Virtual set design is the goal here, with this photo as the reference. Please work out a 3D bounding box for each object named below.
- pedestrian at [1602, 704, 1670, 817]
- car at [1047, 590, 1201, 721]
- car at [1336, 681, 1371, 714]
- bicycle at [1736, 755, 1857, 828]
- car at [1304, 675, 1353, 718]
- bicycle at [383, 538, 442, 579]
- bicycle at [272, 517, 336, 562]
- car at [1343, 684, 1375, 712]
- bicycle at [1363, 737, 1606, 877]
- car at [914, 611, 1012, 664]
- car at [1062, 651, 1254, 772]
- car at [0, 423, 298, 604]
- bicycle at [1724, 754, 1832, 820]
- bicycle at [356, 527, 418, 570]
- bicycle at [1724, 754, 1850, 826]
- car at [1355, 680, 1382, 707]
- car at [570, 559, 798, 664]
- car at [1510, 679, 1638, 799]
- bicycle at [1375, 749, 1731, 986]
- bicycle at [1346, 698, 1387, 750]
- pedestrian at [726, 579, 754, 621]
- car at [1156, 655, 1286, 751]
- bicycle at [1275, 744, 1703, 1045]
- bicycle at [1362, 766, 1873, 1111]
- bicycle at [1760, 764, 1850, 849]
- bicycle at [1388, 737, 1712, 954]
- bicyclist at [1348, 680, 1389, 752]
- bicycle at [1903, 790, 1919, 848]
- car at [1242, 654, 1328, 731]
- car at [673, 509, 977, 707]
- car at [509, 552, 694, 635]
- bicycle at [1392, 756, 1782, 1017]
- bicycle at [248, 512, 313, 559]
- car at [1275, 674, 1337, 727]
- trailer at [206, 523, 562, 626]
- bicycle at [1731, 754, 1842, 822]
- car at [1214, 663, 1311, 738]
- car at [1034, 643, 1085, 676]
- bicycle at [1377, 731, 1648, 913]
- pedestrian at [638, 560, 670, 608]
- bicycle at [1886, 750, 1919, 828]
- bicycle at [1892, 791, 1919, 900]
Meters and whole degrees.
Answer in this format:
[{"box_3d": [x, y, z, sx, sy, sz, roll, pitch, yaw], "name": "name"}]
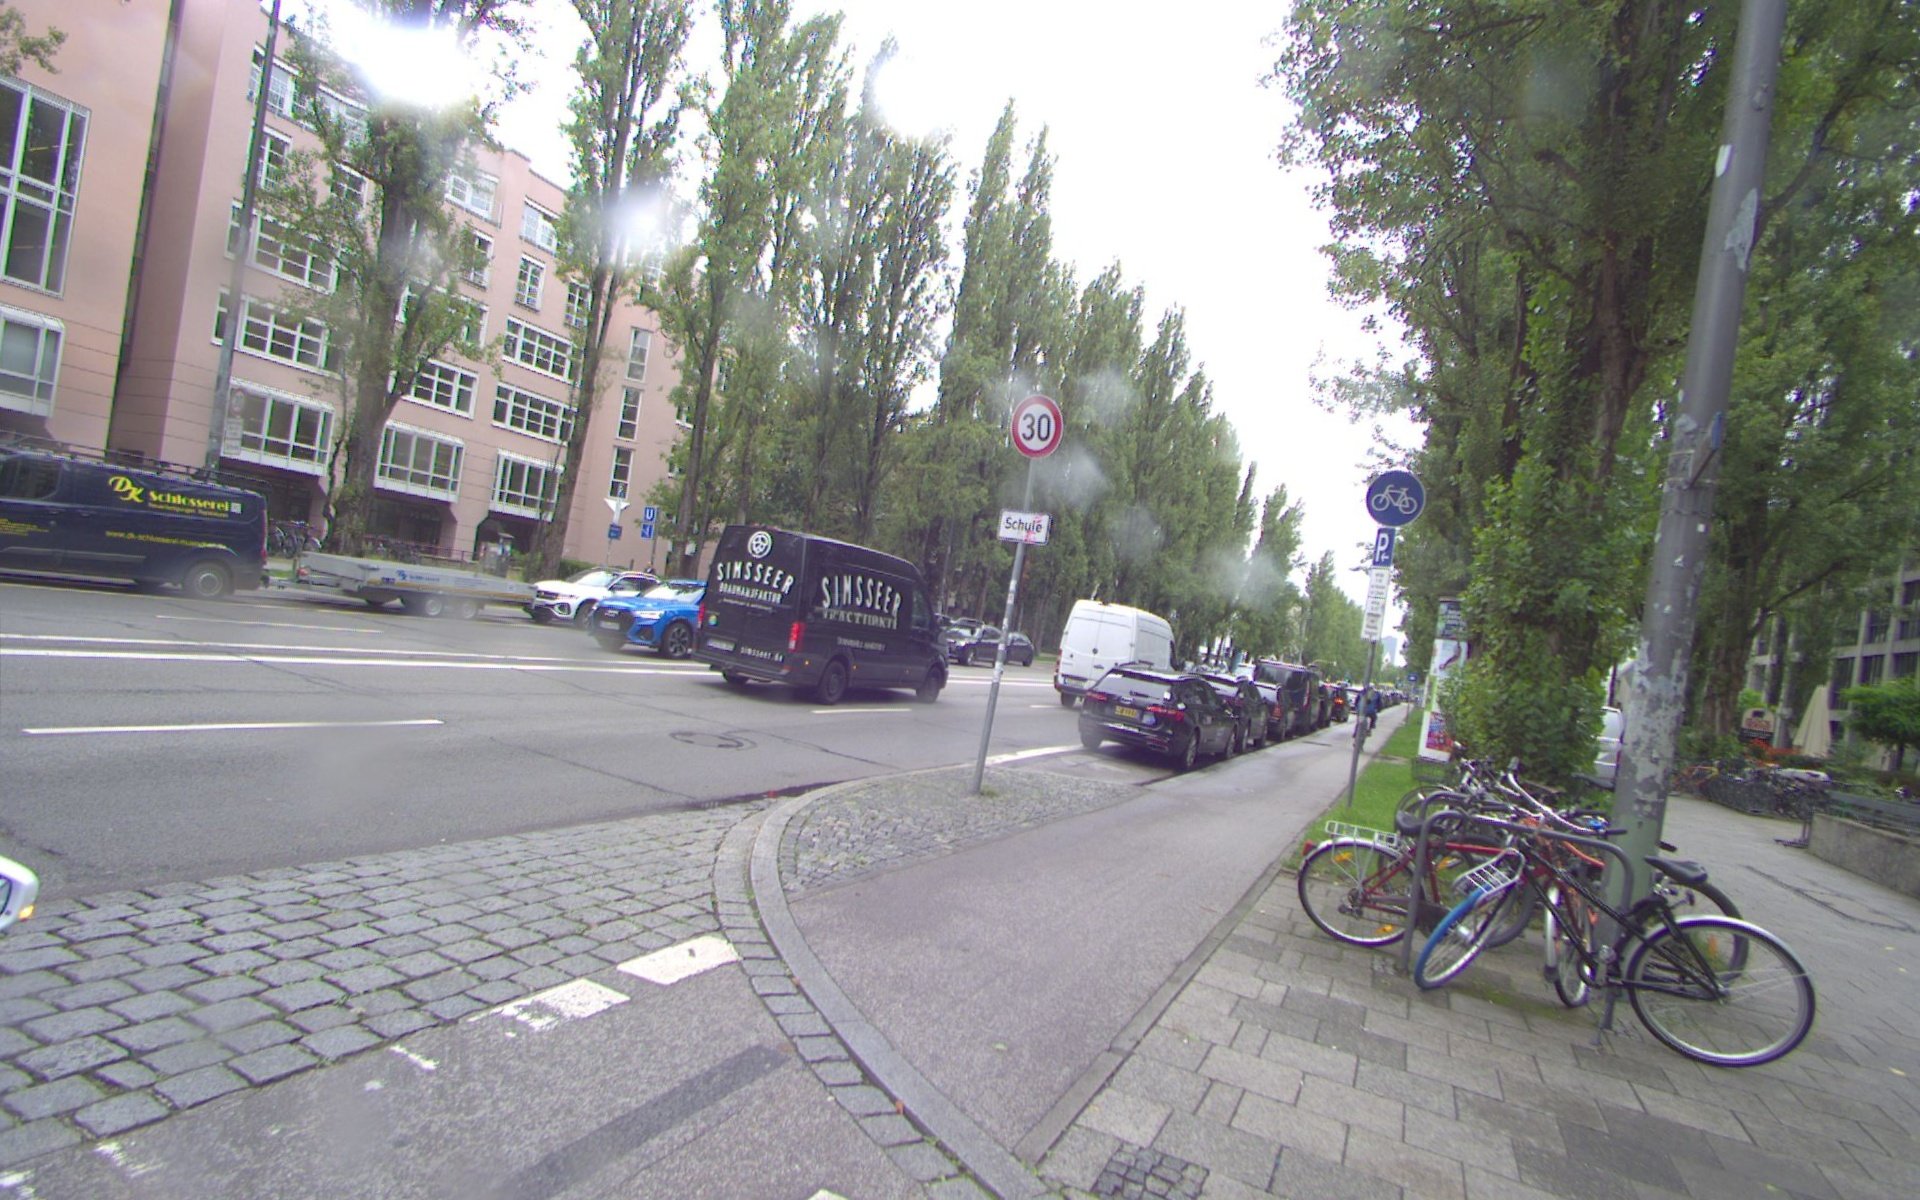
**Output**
[{"box_3d": [12.059, 2.848, 17.972, 0.688, 1.863, 0.706, 9, 0, 28], "name": "pedestrian"}, {"box_3d": [4.427, 1.493, 26.045, 2.010, 2.683, 6.040, 10, 0, 25], "name": "car"}, {"box_3d": [24.634, 6.071, 62.883, 1.717, 1.662, 3.952, 10, 0, 23], "name": "car"}, {"box_3d": [18.469, 4.218, 22.257, 1.836, 1.173, 0.587, 9, 0, 27], "name": "bicycle"}, {"box_3d": [17.091, 4.450, 46.595, 1.717, 1.609, 3.952, 10, 0, 23], "name": "car"}, {"box_3d": [-19.037, -1.443, 34.957, 1.953, 1.138, 0.676, 9, 0, 26], "name": "bicycle"}, {"box_3d": [-20.783, -1.917, 31.853, 1.953, 1.138, 0.676, 9, 0, 26], "name": "bicycle"}, {"box_3d": [27.870, 6.814, 70.236, 1.717, 1.564, 3.952, 10, 0, 23], "name": "car"}, {"box_3d": [4.668, 1.813, 9.043, 1.802, 0.827, 0.471, 8, 0, 30], "name": "bicycle"}, {"box_3d": [0.196, 1.523, 39.693, 1.964, 1.662, 4.549, 8, -1, 25], "name": "car"}, {"box_3d": [3.448, 1.834, 16.761, 1.726, 1.444, 4.445, 10, 0, 29], "name": "car"}, {"box_3d": [-13.806, -1.383, 15.589, 1.987, 2.223, 5.496, 9, -1, 25], "name": "car"}, {"box_3d": [20.074, 4.570, 24.727, 1.836, 1.173, 0.587, 9, 0, 27], "name": "bicycle"}, {"box_3d": [-19.483, -1.760, 34.192, 2.069, 1.138, 0.676, 9, 0, 26], "name": "bicycle"}, {"box_3d": [18.698, 4.277, 22.793, 1.996, 1.173, 0.587, 9, 0, 27], "name": "bicycle"}, {"box_3d": [33.010, 7.518, 81.256, 1.717, 1.808, 3.952, 10, 0, 23], "name": "car"}, {"box_3d": [-5.396, 0.318, 20.313, 1.838, 1.597, 4.421, 7, -2, 26], "name": "car"}, {"box_3d": [13.861, 3.023, 23.003, 1.782, 1.921, 5.193, 8, 2, 26], "name": "car"}, {"box_3d": [3.801, 1.684, 6.609, 1.843, 1.063, 0.475, 7, 0, 27], "name": "bicycle"}, {"box_3d": [10.081, 3.062, 24.899, 0.706, 1.160, 1.900, 5, -3, 27], "name": "bicycle"}, {"box_3d": [-9.842, -0.003, 44.937, 0.696, 1.734, 0.731, 9, 0, 26], "name": "pedestrian"}, {"box_3d": [5.630, 2.171, 21.374, 1.717, 1.544, 3.907, 10, 0, 26], "name": "car"}, {"box_3d": [2.778, 1.509, 5.469, 1.843, 1.063, 0.475, 9, 1, 27], "name": "bicycle"}, {"box_3d": [2.967, 1.508, 4.750, 1.841, 1.063, 0.476, 8, 0, 20], "name": "bicycle"}, {"box_3d": [14.593, 3.536, 17.433, 0.577, 1.173, 1.984, 9, -1, 26], "name": "bicycle"}, {"box_3d": [4.271, 1.749, 7.446, 1.896, 1.118, 0.513, 8, 0, 25], "name": "bicycle"}, {"box_3d": [10.120, 2.858, 24.933, 0.711, 1.639, 0.756, 7, 0, 26], "name": "bicyclist"}, {"box_3d": [20.532, 4.685, 20.710, 0.576, 1.173, 1.871, 9, 0, 11], "name": "bicycle"}, {"box_3d": [10.445, 2.931, 32.043, 1.882, 1.946, 5.041, 10, 0, 23], "name": "car"}, {"box_3d": [-1.992, 0.309, 17.400, 2.045, 2.586, 5.931, 10, 0, 24], "name": "car"}, {"box_3d": [-8.942, -0.115, 25.473, 1.775, 1.560, 4.231, 7, -1, 27], "name": "car"}, {"box_3d": [3.701, 1.661, 6.112, 1.843, 1.063, 0.475, 7, 0, 27], "name": "bicycle"}, {"box_3d": [-21.082, -2.003, 31.187, 1.953, 1.138, 0.676, 9, 0, 26], "name": "bicycle"}, {"box_3d": [12.931, 3.713, 37.469, 1.717, 1.544, 3.952, 10, 0, 23], "name": "car"}, {"box_3d": [-11.533, -0.414, 20.821, 2.362, 1.213, 6.037, 9, -1, 26], "name": "trailer"}, {"box_3d": [19.807, 4.485, 24.154, 1.836, 1.174, 0.587, 9, 1, 27], "name": "bicycle"}, {"box_3d": [8.122, 2.651, 26.787, 1.717, 1.544, 4.235, 10, 0, 25], "name": "car"}, {"box_3d": [5.908, 3.506, 59.416, 1.913, 1.598, 3.609, 9, 0, 20], "name": "car"}, {"box_3d": [4.515, 1.778, 8.328, 1.802, 1.050, 0.512, 8, 0, 30], "name": "bicycle"}, {"box_3d": [-11.969, -0.606, 39.354, 0.696, 1.734, 0.731, 9, 0, 26], "name": "pedestrian"}, {"box_3d": [15.690, 3.093, 16.135, 0.577, 1.173, 1.869, 9, -1, 26], "name": "bicycle"}, {"box_3d": [11.014, 2.798, 10.793, 0.577, 1.173, 1.871, 9, -1, 17], "name": "bicycle"}]
